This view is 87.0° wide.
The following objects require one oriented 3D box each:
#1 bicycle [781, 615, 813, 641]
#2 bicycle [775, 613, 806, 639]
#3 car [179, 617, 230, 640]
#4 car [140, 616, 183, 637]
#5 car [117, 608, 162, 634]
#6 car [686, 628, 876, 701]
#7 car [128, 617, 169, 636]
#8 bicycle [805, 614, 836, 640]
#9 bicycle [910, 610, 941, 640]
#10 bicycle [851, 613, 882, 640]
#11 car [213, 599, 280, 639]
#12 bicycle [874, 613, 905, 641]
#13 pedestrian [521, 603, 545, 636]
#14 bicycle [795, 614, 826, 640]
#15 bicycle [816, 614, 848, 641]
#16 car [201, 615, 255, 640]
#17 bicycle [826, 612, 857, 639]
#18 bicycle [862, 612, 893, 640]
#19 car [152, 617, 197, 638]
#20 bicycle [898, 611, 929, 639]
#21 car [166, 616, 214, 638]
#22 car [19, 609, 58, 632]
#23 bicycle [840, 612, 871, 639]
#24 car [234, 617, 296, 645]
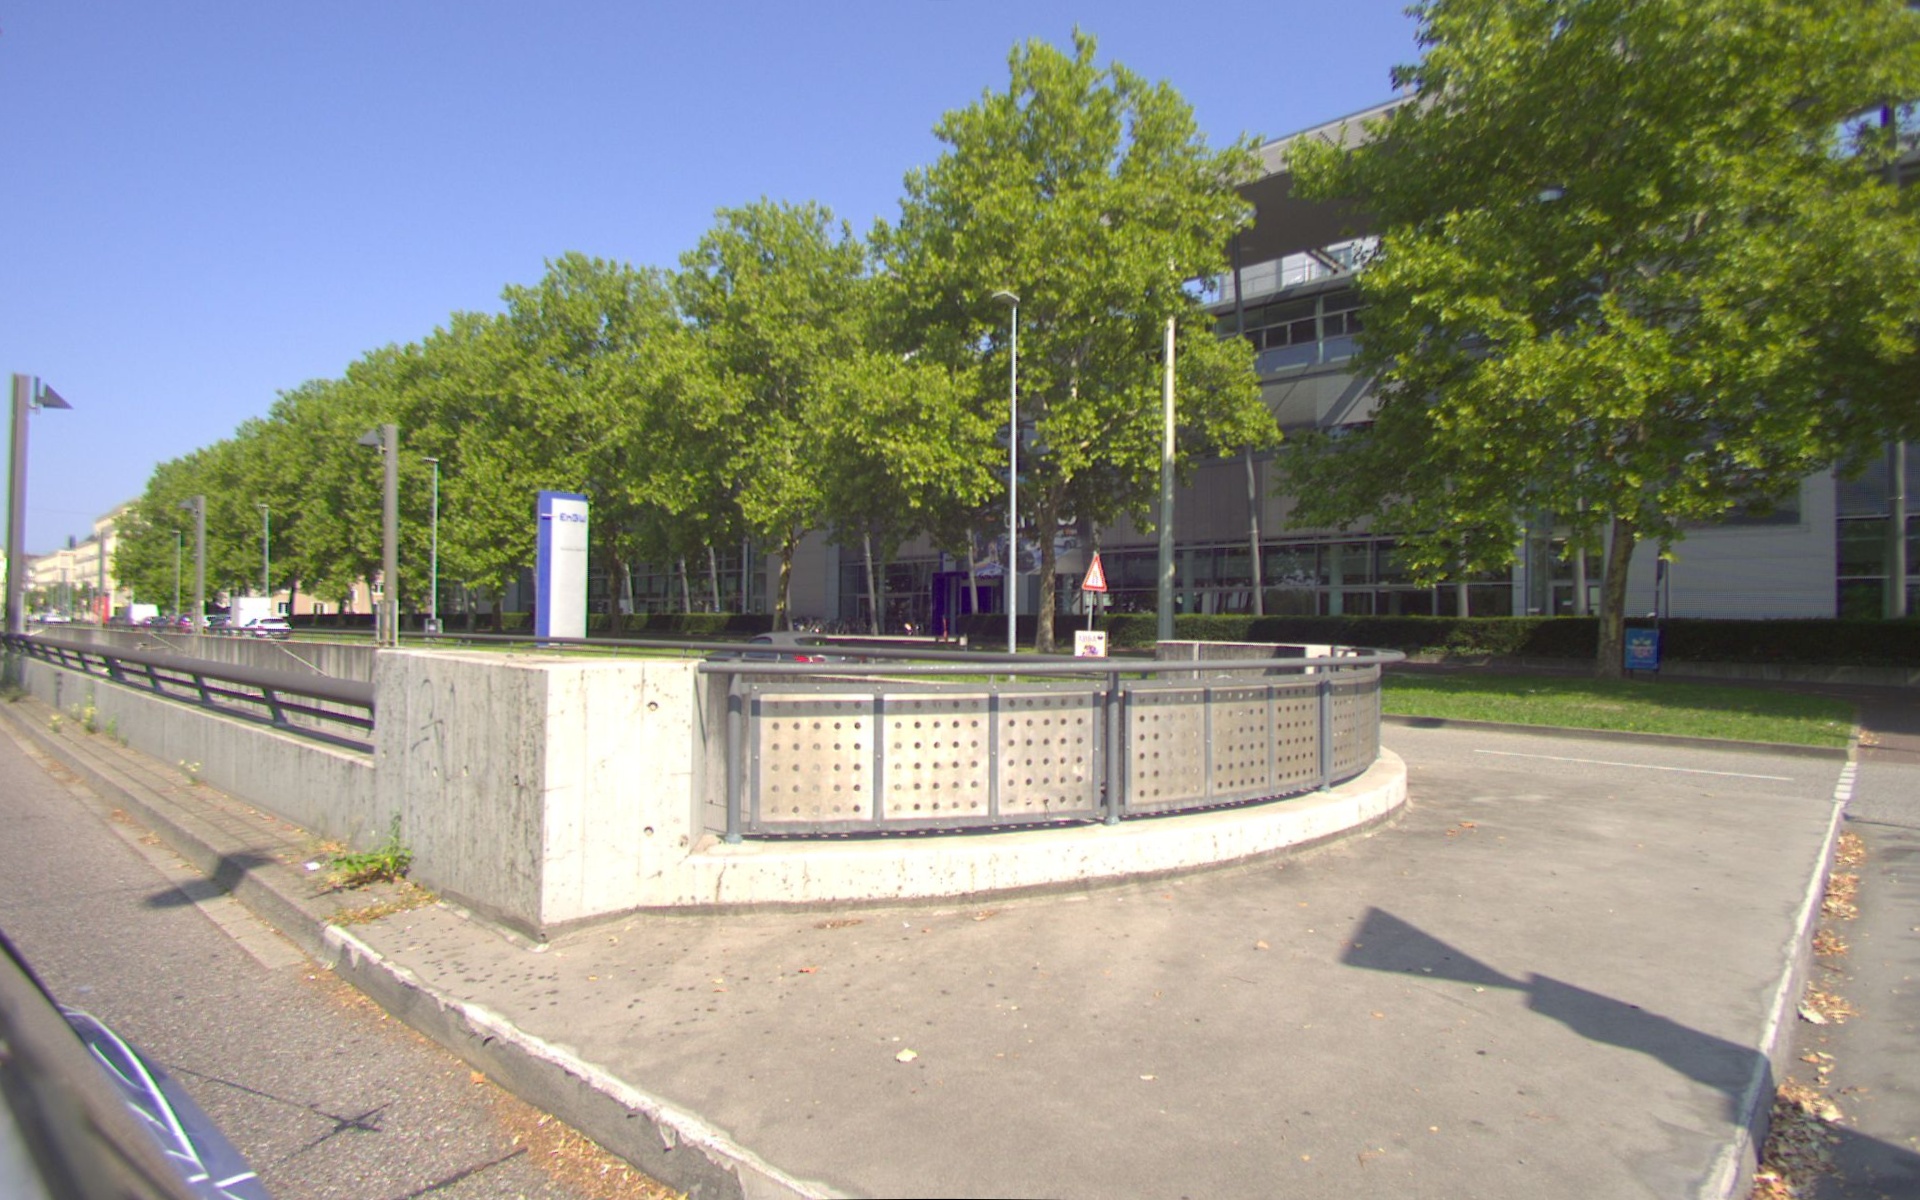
[{"bbox_3d":[-10.306,1.733,64.060,0.599,1.566,2.144,-1,0,35],"label":"bicycle"},{"bbox_3d":[-10.793,1.646,64.492,0.599,1.566,2.144,-1,0,35],"label":"bicycle"},{"bbox_3d":[-50.660,1.894,67.878,3.999,1.464,1.972,-1,1,42],"label":"car"},{"bbox_3d":[-62.097,2.047,78.688,3.999,1.464,1.972,-1,1,42],"label":"car"},{"bbox_3d":[-70.758,1.795,87.252,4.654,2.095,2.261,-1,1,42],"label":"car"},{"bbox_3d":[-3.649,1.224,20.299,3.892,1.230,1.639,-1,1,40],"label":"car"},{"bbox_3d":[-66.694,2.133,83.125,3.999,1.464,1.972,-1,1,42],"label":"car"},{"bbox_3d":[-8.687,1.663,63.023,0.599,1.566,2.144,-1,0,35],"label":"bicycle"},{"bbox_3d":[-1.976,1.421,58.826,0.599,1.652,2.144,-1,0,35],"label":"bicycle"},{"bbox_3d":[-5.631,1.593,61.197,0.599,1.566,2.144,-1,0,35],"label":"bicycle"},{"bbox_3d":[-42.790,1.096,60.666,4.654,2.250,2.261,-1,1,42],"label":"car"},{"bbox_3d":[-4.167,1.578,60.117,0.599,1.566,2.144,-1,0,35],"label":"bicycle"},{"bbox_3d":[-26.984,1.213,64.010,1.349,2.029,0.935,-1,0,45],"label":"pedestrian"},{"bbox_3d":[-9.346,1.665,63.446,0.599,1.566,2.144,-1,0,35],"label":"bicycle"},{"bbox_3d":[-7.906,1.688,62.609,0.599,1.566,2.144,-1,0,35],"label":"bicycle"},{"bbox_3d":[-46.222,1.726,63.897,3.999,1.464,1.972,-1,1,42],"label":"car"},{"bbox_3d":[-7.293,1.562,62.165,0.599,1.566,2.144,-1,0,35],"label":"bicycle"},{"bbox_3d":[-4.922,1.551,60.757,0.599,1.566,2.144,-1,0,35],"label":"bicycle"},{"bbox_3d":[-58.795,2.008,75.722,3.999,1.464,1.972,-1,1,42],"label":"car"},{"bbox_3d":[-2.704,1.439,59.212,0.599,1.566,2.144,-1,0,35],"label":"bicycle"},{"bbox_3d":[-54.737,1.886,71.908,3.999,1.464,1.972,-1,1,42],"label":"car"},{"bbox_3d":[-85.250,1.886,93.597,3.994,2.029,1.975,-1,0,38],"label":"car"},{"bbox_3d":[-6.342,1.567,61.666,0.599,1.566,2.144,-1,0,35],"label":"bicycle"},{"bbox_3d":[-39.212,1.729,57.074,3.999,1.464,1.972,-1,1,42],"label":"car"}]
